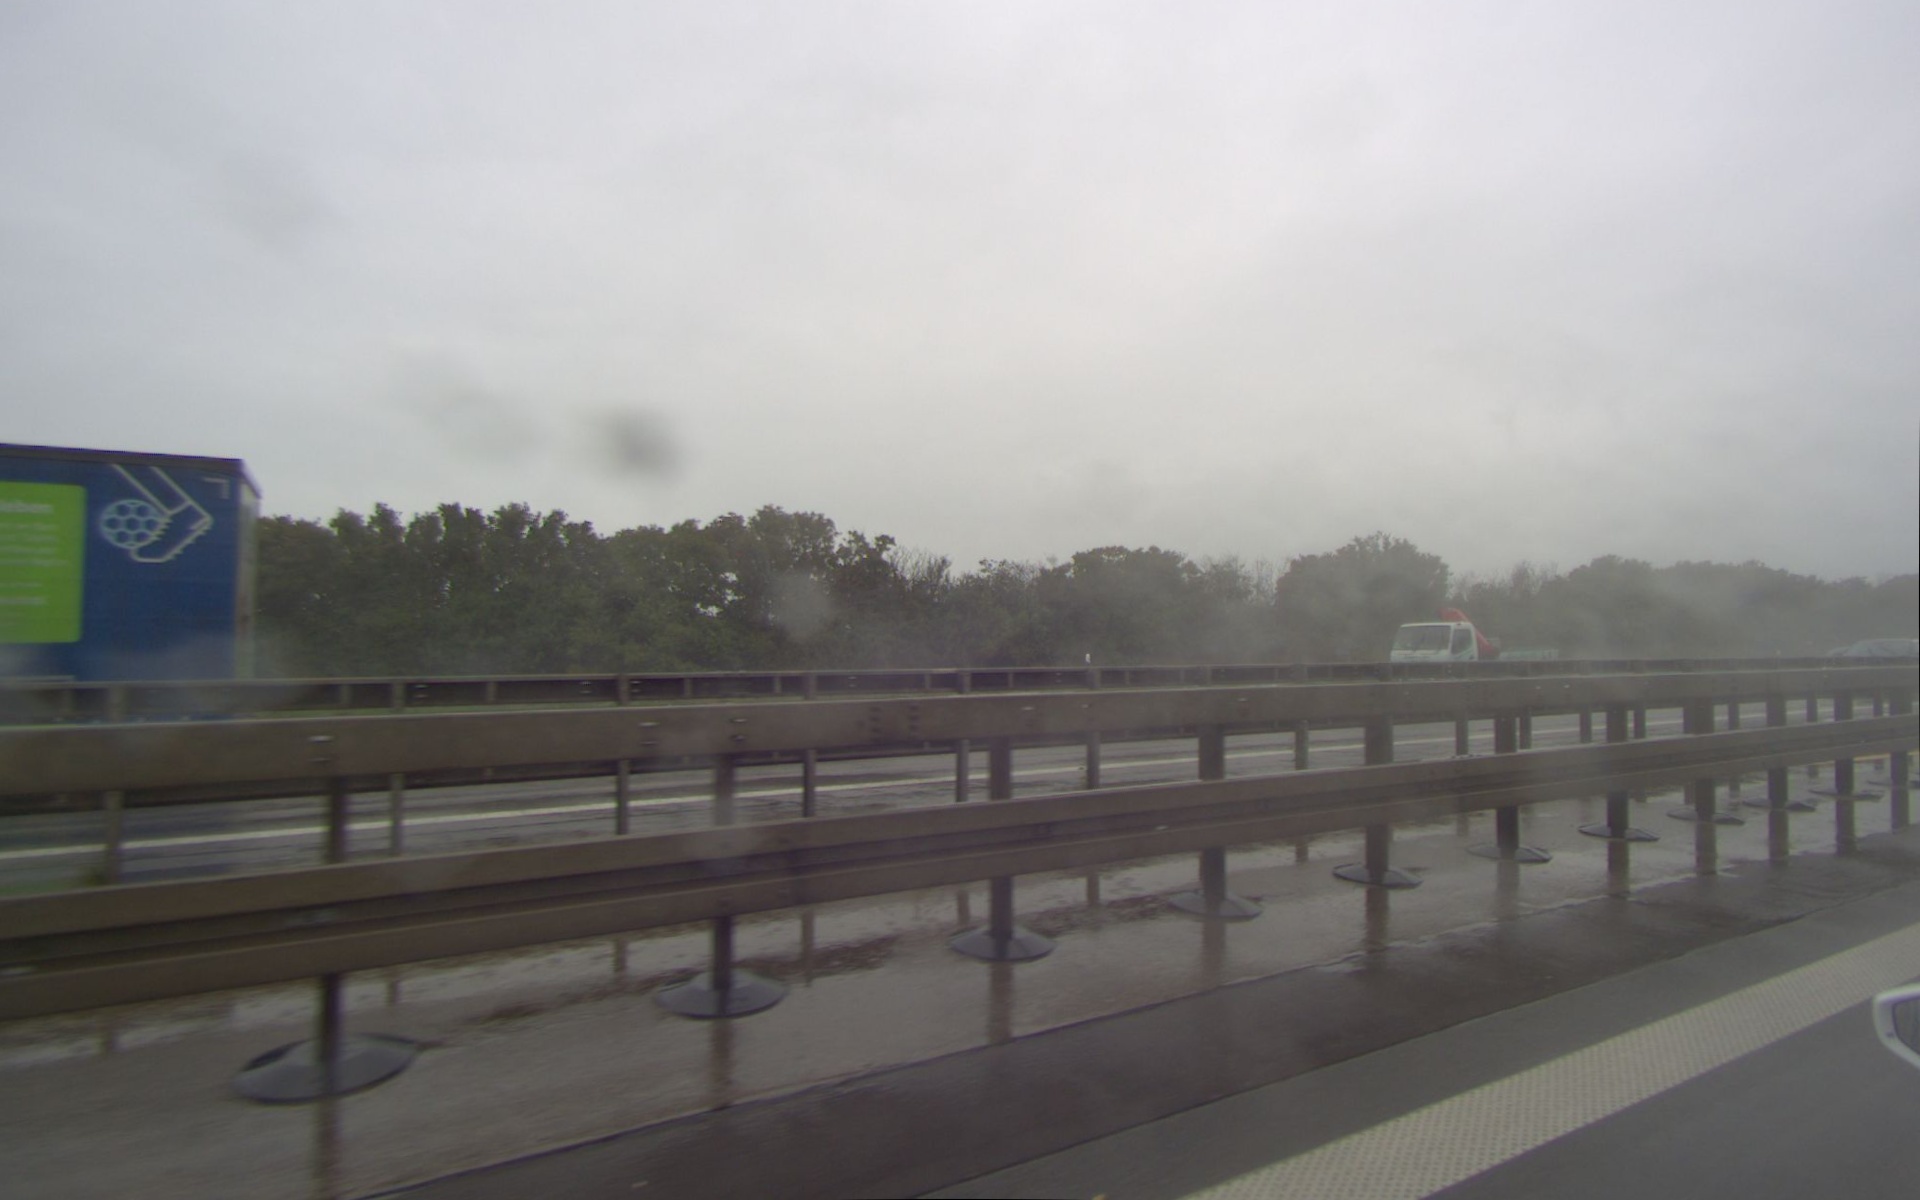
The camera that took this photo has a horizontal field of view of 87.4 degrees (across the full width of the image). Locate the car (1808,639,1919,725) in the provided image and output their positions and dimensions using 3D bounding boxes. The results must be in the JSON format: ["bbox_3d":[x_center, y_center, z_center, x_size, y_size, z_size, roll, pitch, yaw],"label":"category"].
[{"bbox_3d":[25.758,2.188,27.870,4.711,2.132,1.983,1,0,-31],"label":"car"}]

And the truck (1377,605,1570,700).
[{"bbox_3d":[15.811,1.550,30.824,6.191,2.654,2.315,1,0,-31],"label":"truck"}]

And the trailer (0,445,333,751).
[{"bbox_3d":[-15.601,-0.105,12.151,13.424,3.855,2.621,1,0,-30],"label":"trailer"}]
